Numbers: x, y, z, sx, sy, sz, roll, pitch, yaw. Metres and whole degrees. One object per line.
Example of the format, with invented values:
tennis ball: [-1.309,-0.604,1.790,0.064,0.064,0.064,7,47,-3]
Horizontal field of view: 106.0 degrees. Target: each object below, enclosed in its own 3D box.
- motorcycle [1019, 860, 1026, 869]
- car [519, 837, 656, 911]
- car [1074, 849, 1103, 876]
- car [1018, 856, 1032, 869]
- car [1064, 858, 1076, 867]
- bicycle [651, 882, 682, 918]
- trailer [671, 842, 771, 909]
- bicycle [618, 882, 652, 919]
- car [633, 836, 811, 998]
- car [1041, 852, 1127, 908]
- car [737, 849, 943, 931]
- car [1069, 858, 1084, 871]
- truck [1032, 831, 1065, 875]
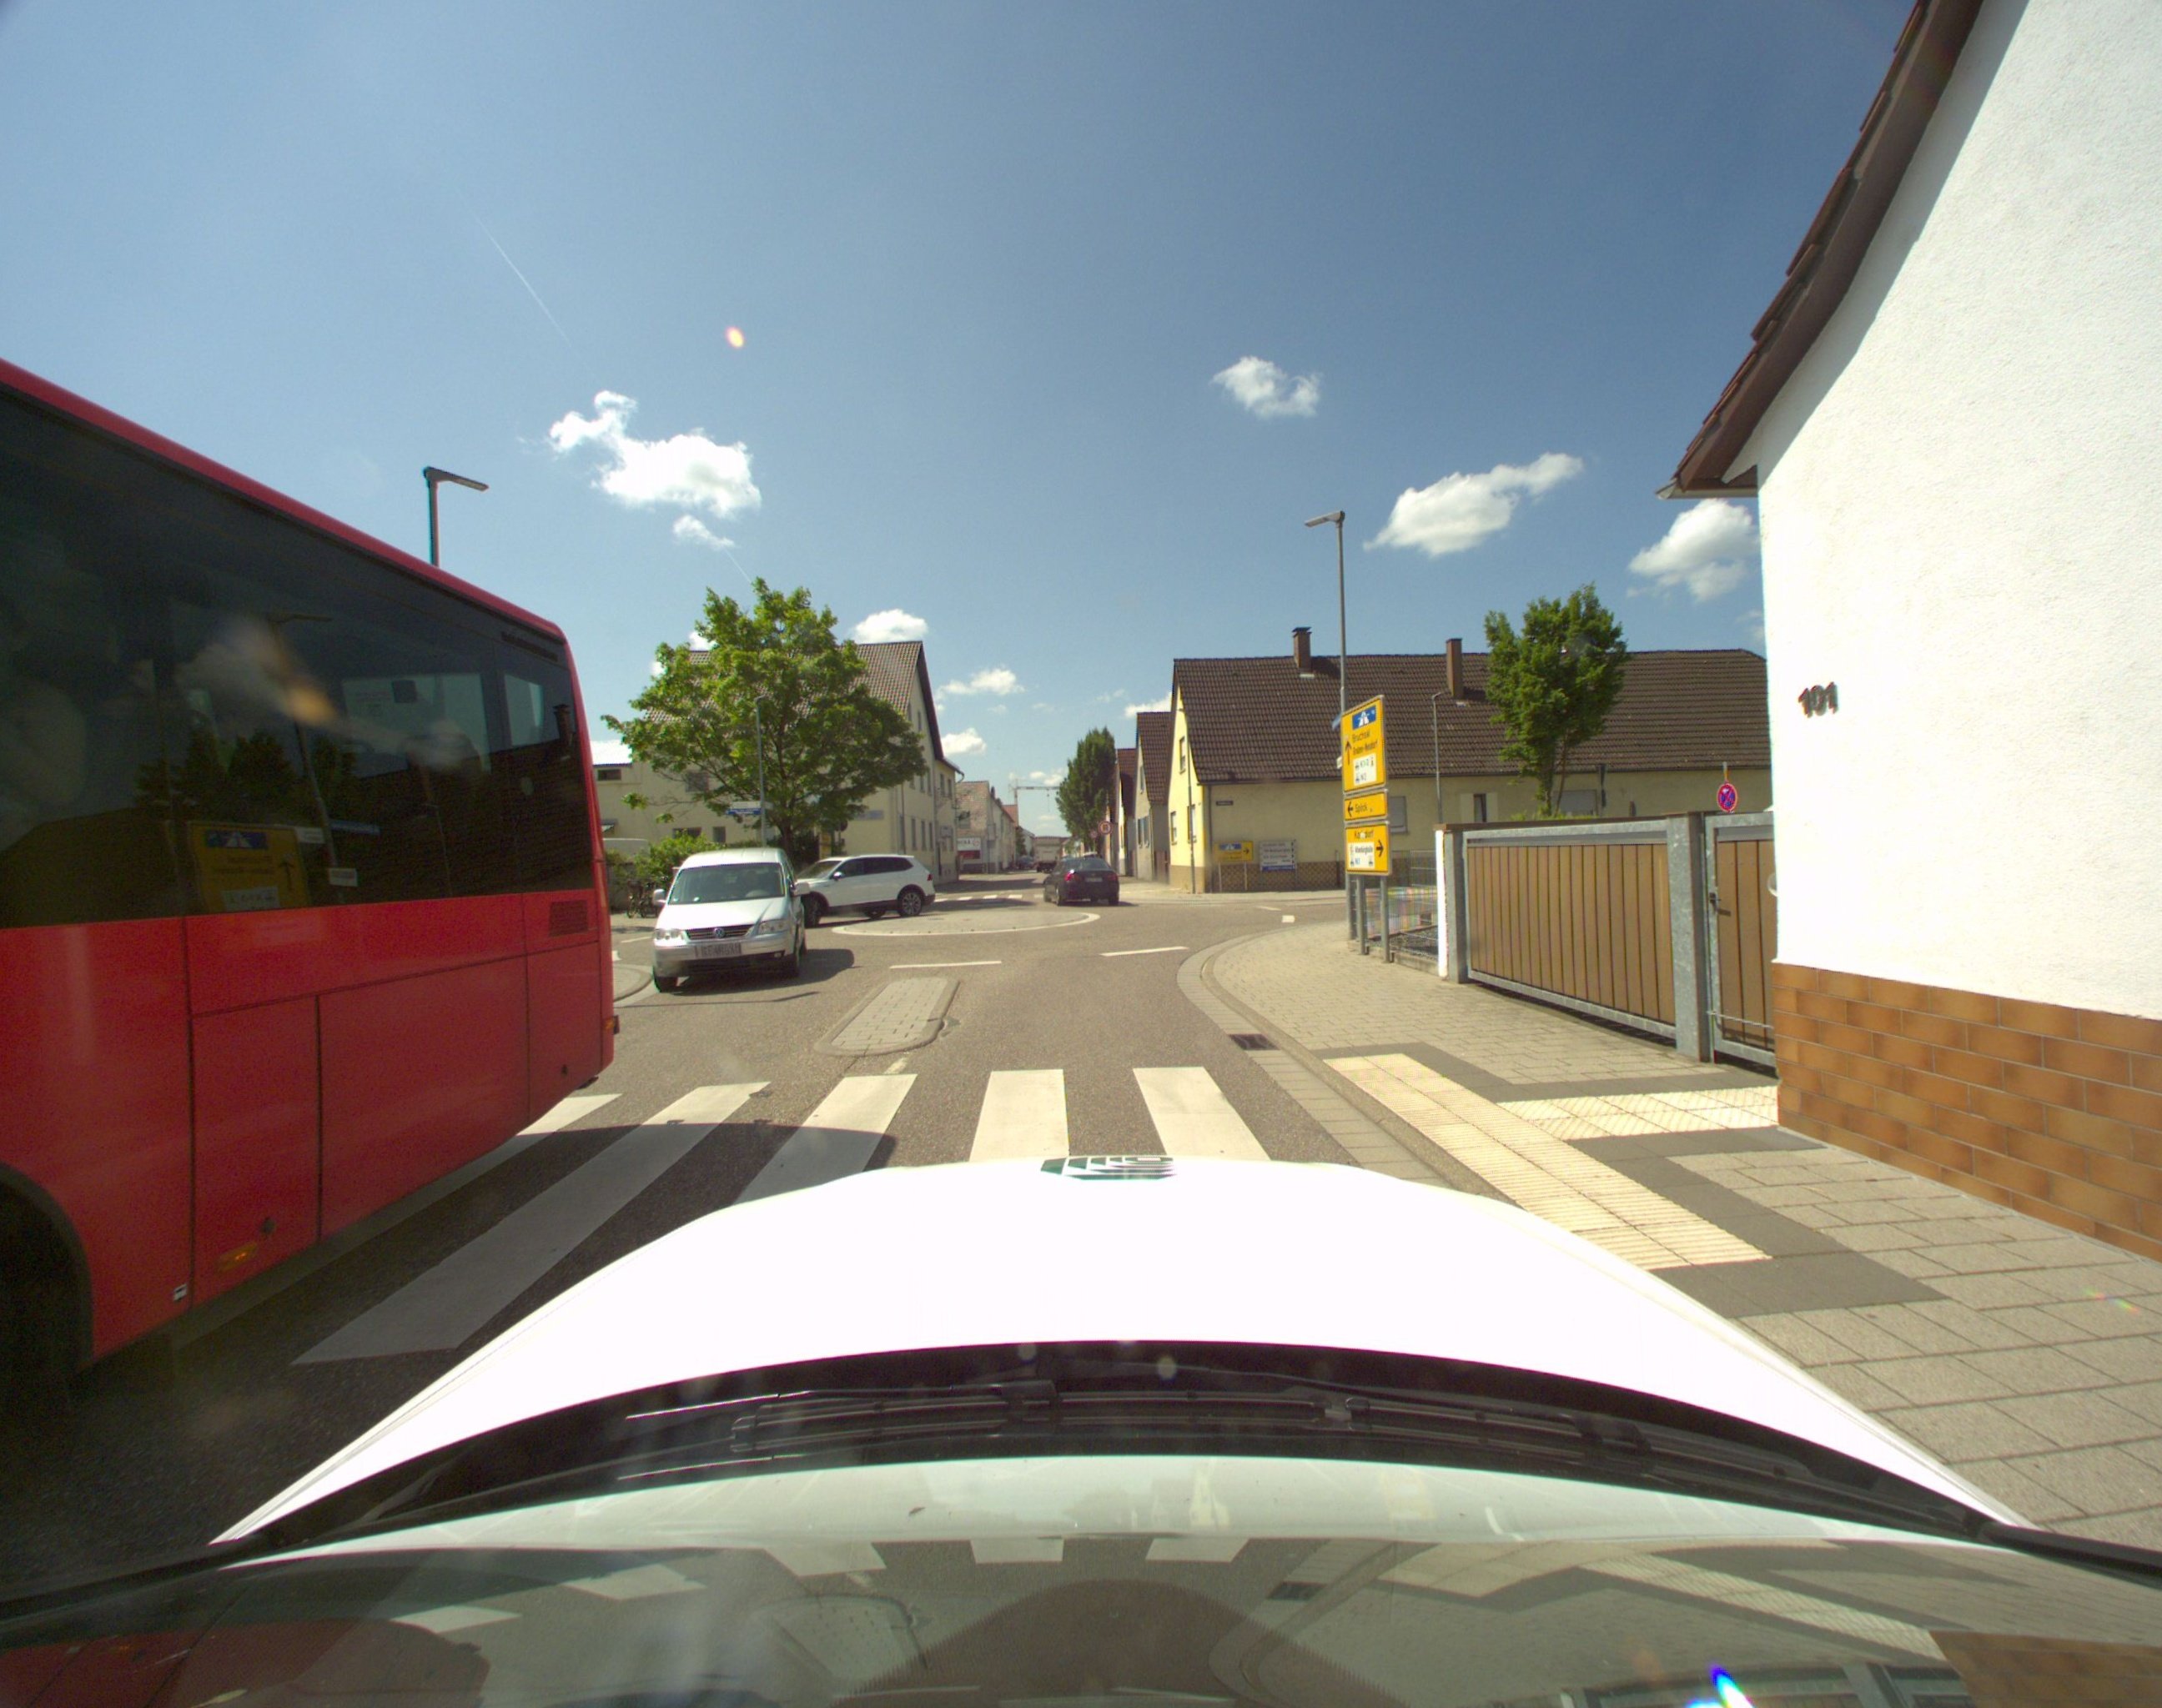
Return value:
motorcycle: [-7.605,1.320,106.233,0.844,1.170,2.466,0,-1,-3]
car: [-18.791,0.691,31.400,1.931,2.567,5.644,-1,0,-1]
car: [0.523,0.638,59.393,1.716,1.790,4.138,-4,0,-4]
car: [-7.541,1.147,110.151,1.805,1.589,3.996,-2,0,-3]
car: [-1.648,1.275,124.409,1.715,1.355,4.153,-2,0,-2]
bicycle: [-13.252,1.455,26.053,0.400,1.003,1.973,-2,2,-14]
trailer: [-13.576,0.767,31.017,1.874,2.335,4.521,-1,0,-1]
bicycle: [-14.127,1.459,25.813,0.400,1.003,1.973,-2,2,-14]
car: [-5.031,0.770,12.009,1.776,1.821,4.416,-4,0,-17]
car: [-0.010,0.753,25.636,1.903,1.563,4.460,-2,0,-10]
car: [-5.848,0.811,20.214,1.848,1.710,4.571,-2,0,42]
car: [-0.526,1.237,96.142,1.714,1.461,4.155,-2,0,0]
truck: [-3.256,-0.067,84.311,3.135,4.250,9.298,0,-1,-1]
